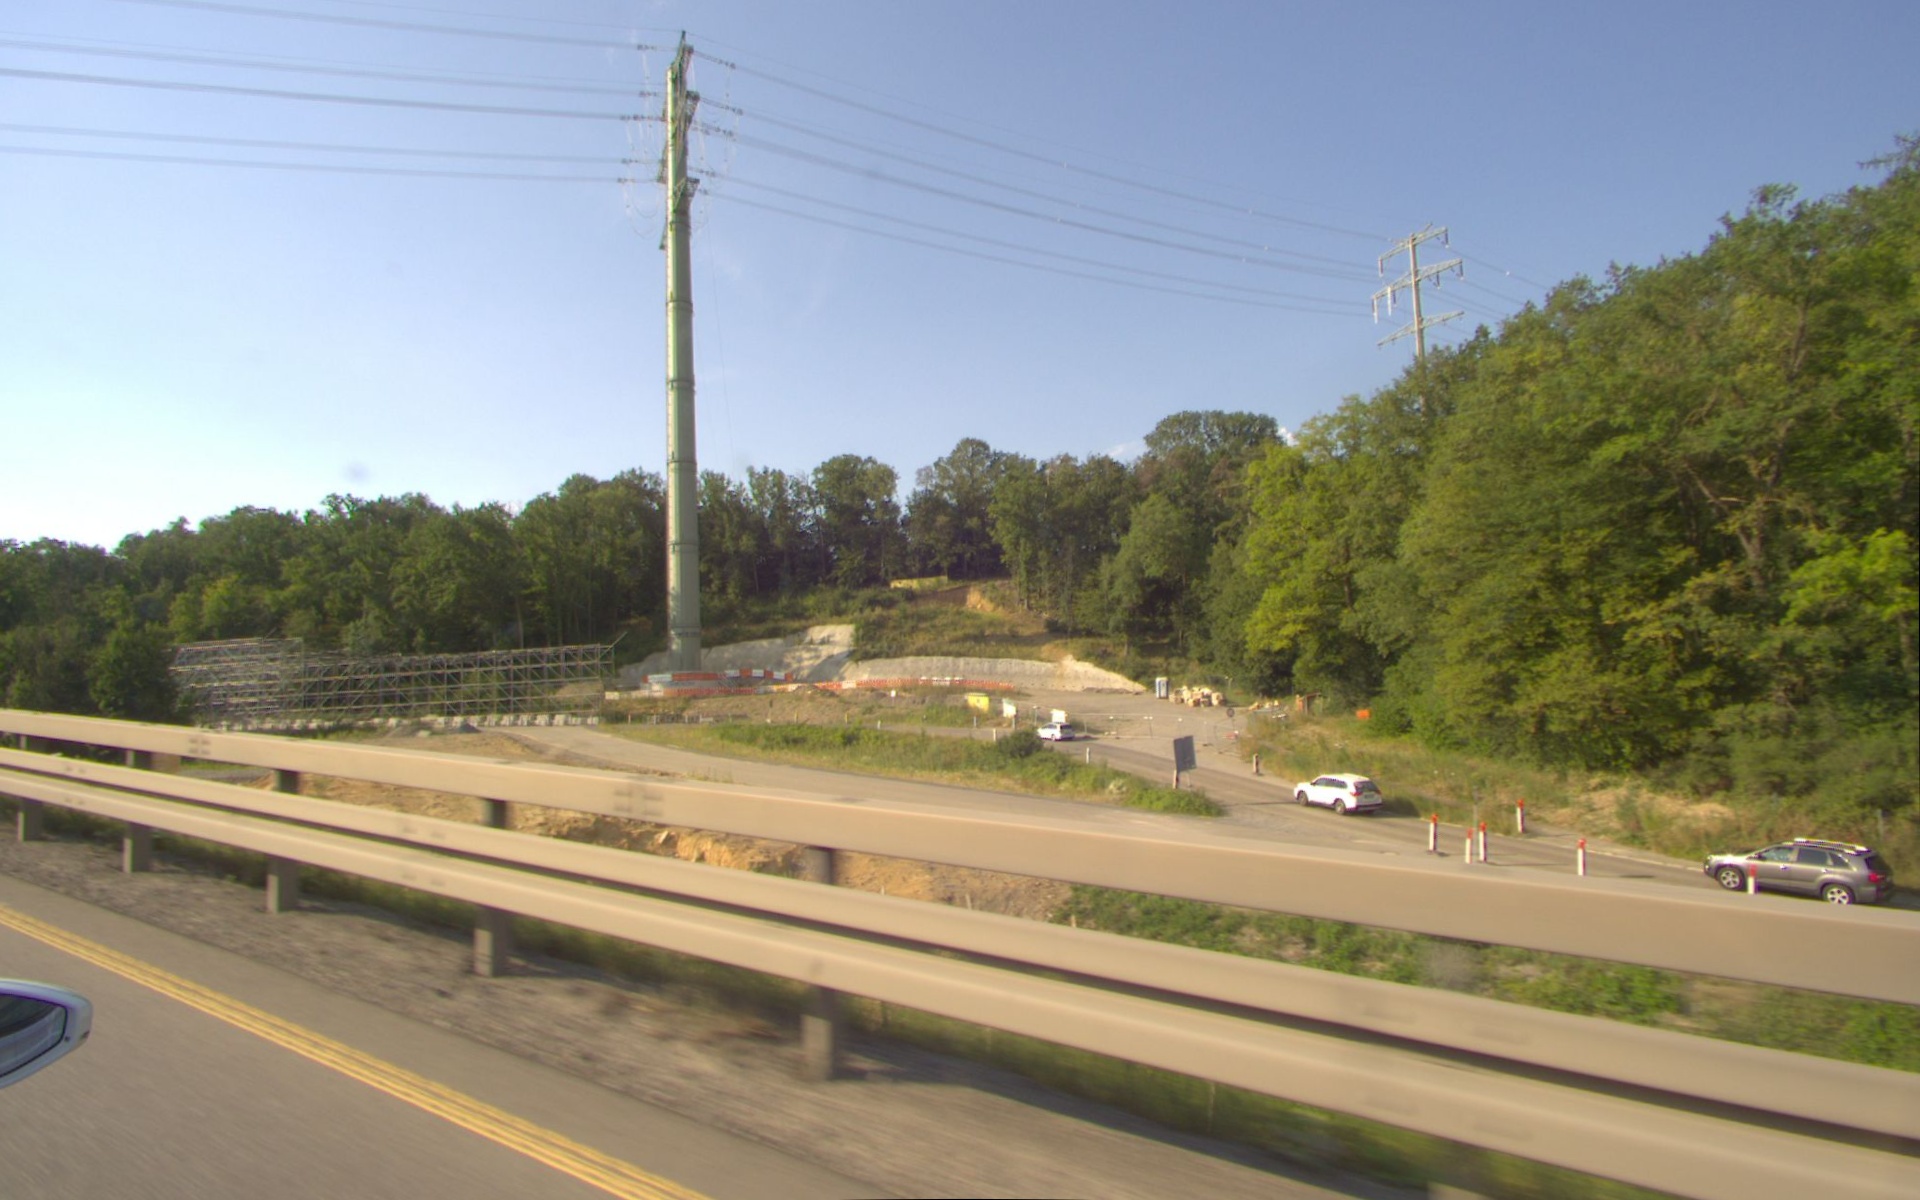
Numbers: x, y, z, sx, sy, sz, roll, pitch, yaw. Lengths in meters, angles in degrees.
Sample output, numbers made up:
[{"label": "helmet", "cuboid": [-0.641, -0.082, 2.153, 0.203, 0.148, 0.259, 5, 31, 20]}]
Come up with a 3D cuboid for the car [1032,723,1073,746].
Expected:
[{"label": "car", "cuboid": [7.712, 11.228, 83.757, 1.506, 1.479, 4.254, -1, -2, -24]}]

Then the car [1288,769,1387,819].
[{"label": "car", "cuboid": [17.472, 8.974, 46.561, 1.647, 1.682, 4.457, 2, -4, -25]}]

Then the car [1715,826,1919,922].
[{"label": "car", "cuboid": [25.993, 8.236, 30.479, 1.846, 1.807, 4.466, 1, -2, -37]}]
